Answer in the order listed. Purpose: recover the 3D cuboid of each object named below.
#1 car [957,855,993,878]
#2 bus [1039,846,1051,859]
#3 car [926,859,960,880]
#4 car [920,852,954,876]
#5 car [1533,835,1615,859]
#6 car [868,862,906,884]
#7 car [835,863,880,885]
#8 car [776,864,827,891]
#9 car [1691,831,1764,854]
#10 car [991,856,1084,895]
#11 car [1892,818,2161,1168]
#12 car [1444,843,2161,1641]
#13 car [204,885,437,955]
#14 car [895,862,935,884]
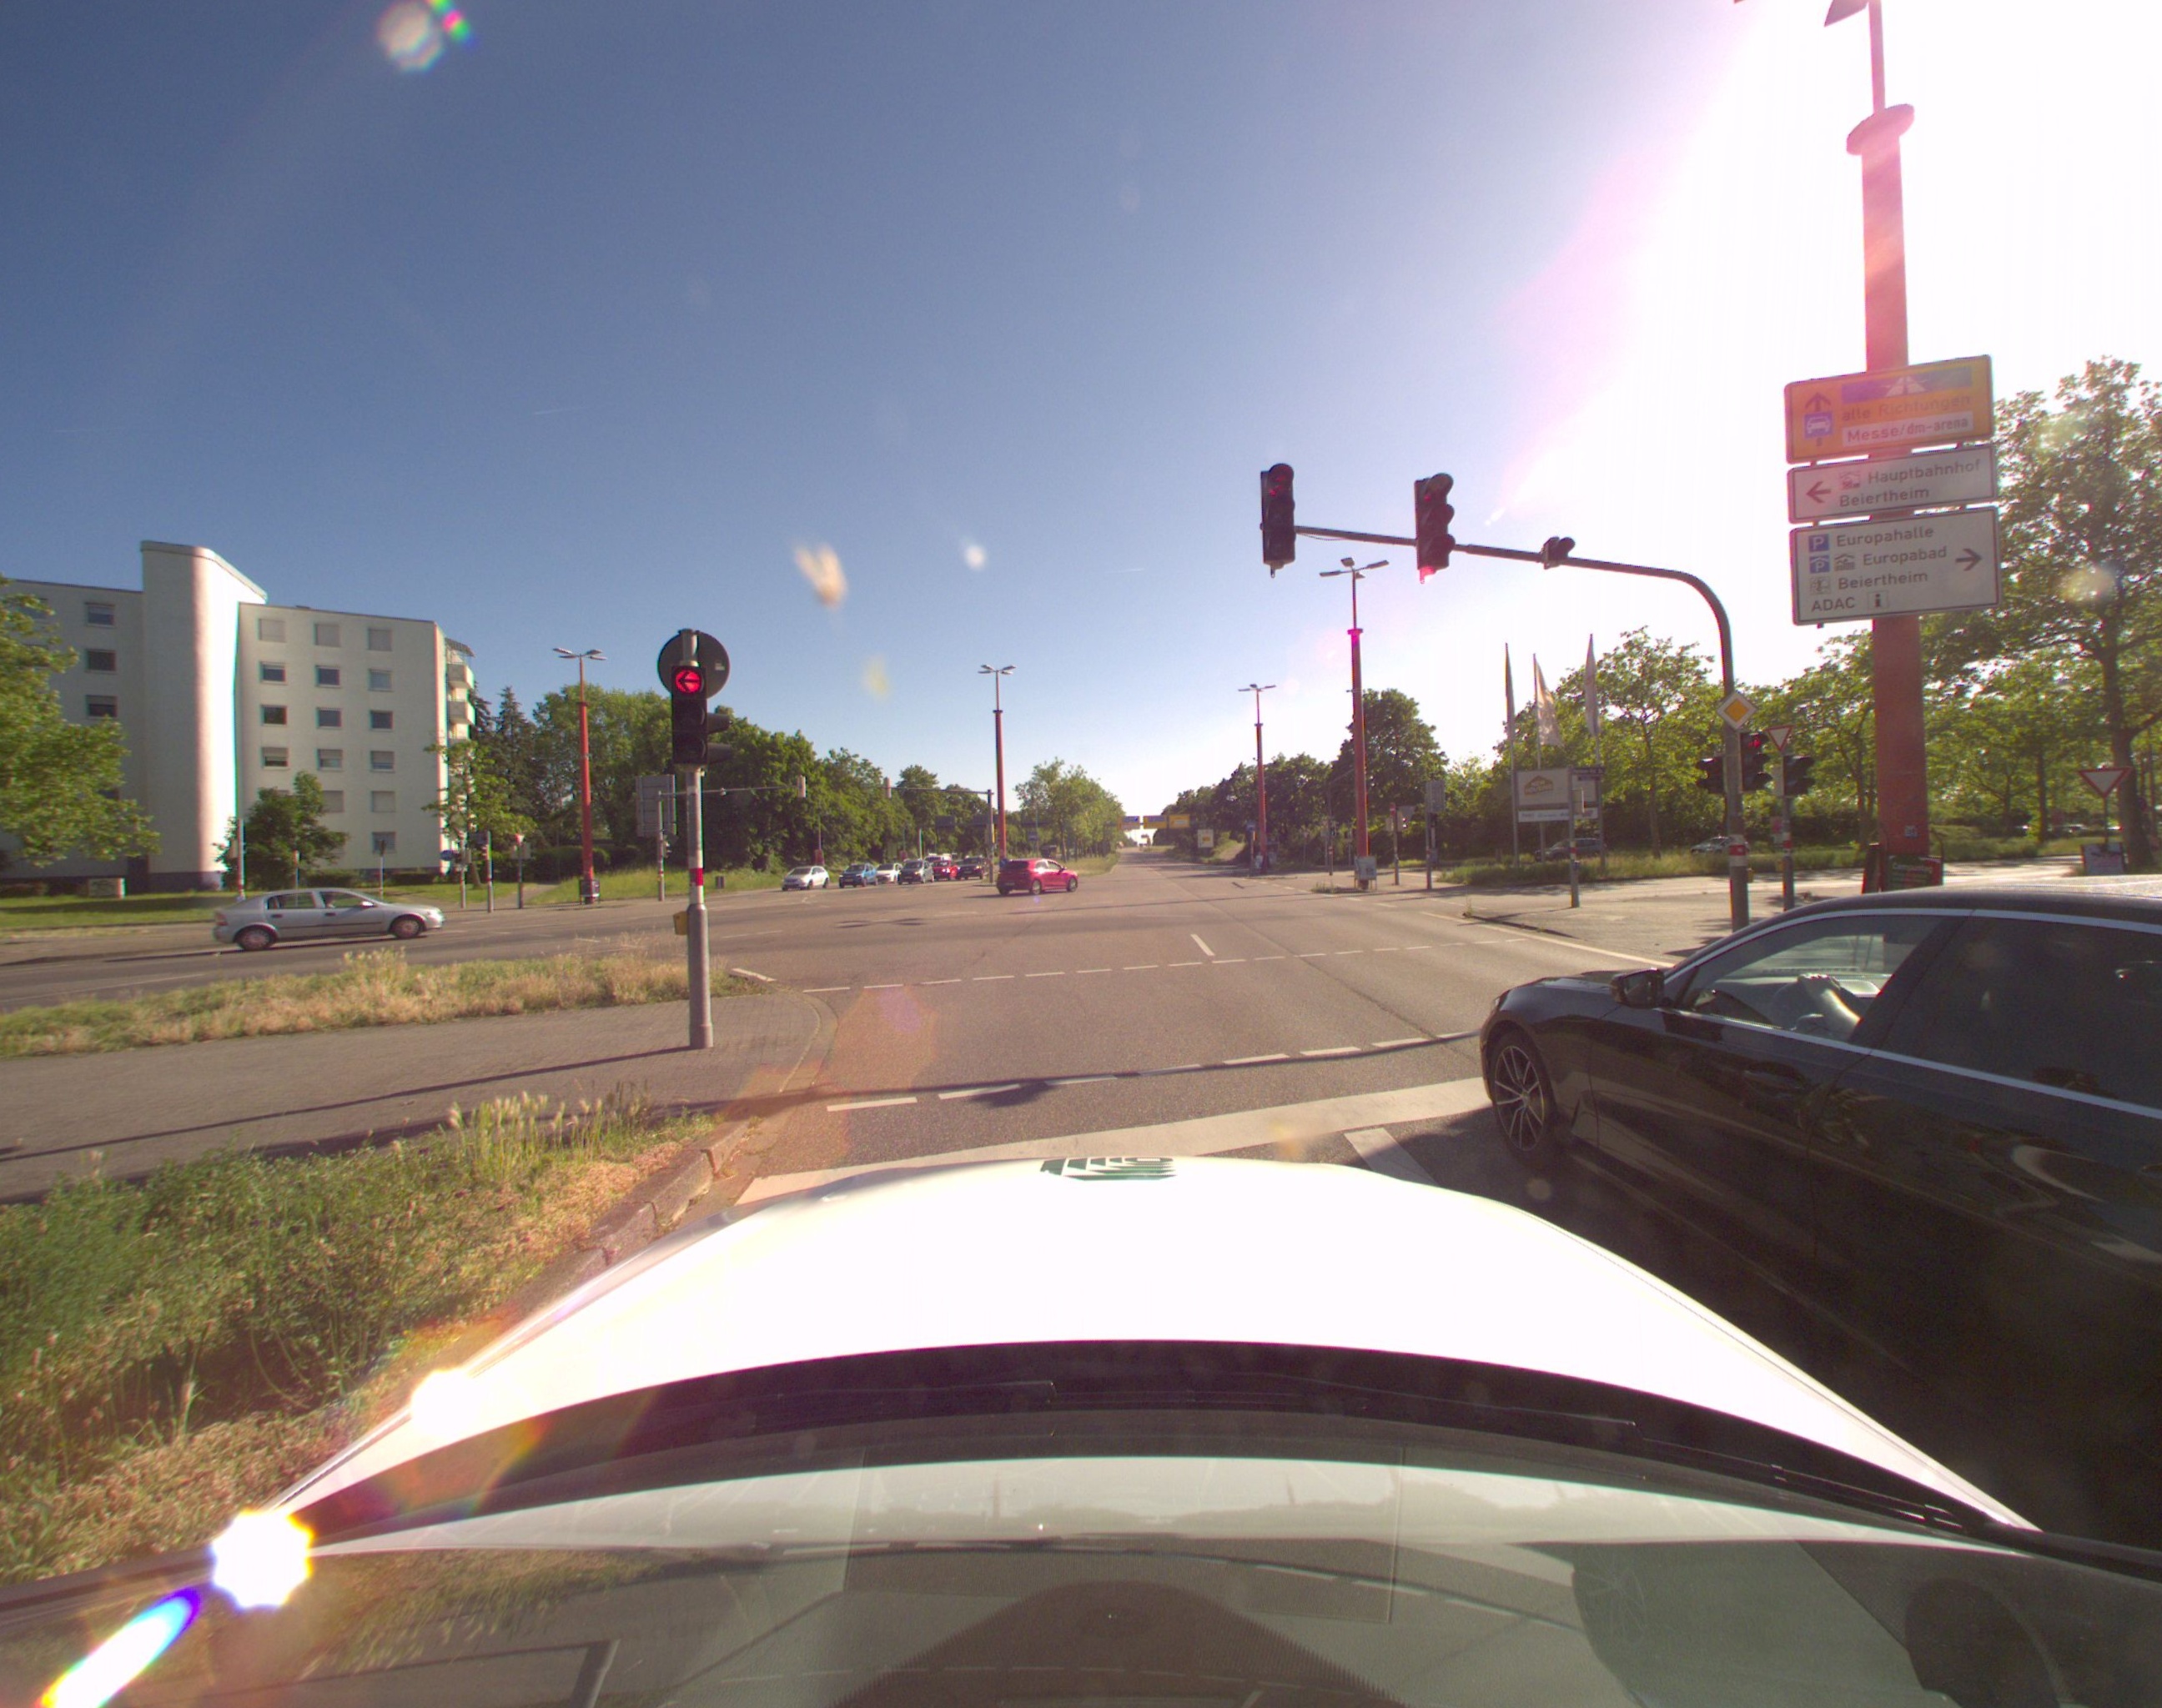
[{"bbox_3d":[-7.313,0.838,56.353,1.812,1.508,4.002,-2,0,2],"label":"car"},{"bbox_3d":[-9.560,-0.397,217.668,2.482,3.238,10.004,-2,0,2],"label":"bus"},{"bbox_3d":[-9.902,1.089,58.661,1.733,1.362,3.613,-2,0,1],"label":"car"},{"bbox_3d":[-12.602,0.876,71.642,1.886,2.026,5.224,-1,0,1],"label":"car"},{"bbox_3d":[32.788,-0.458,54.229,4.300,1.485,1.786,-2,0,1],"label":"car"},{"bbox_3d":[-13.667,1.320,57.522,1.733,1.411,3.613,-2,0,1],"label":"car"},{"bbox_3d":[-14.083,1.213,51.413,1.733,1.243,3.613,-2,0,1],"label":"car"},{"bbox_3d":[-17.573,1.458,51.432,1.754,1.532,3.936,-2,0,1],"label":"car"},{"bbox_3d":[44.305,-0.779,55.843,3.981,1.467,1.678,-2,0,-10],"label":"car"},{"bbox_3d":[-1.716,0.846,33.298,1.664,1.435,4.091,-2,0,33],"label":"car"},{"bbox_3d":[5.680,0.600,2.858,1.732,1.578,4.032,-2,0,3],"label":"car"},{"bbox_3d":[2.900,0.687,2.371,1.862,1.398,4.446,-2,0,3],"label":"car"},{"bbox_3d":[-18.382,1.531,19.892,4.023,1.346,1.469,-2,0,-44],"label":"car"},{"bbox_3d":[-10.599,1.189,52.301,1.733,1.243,3.613,-2,0,1],"label":"car"}]
